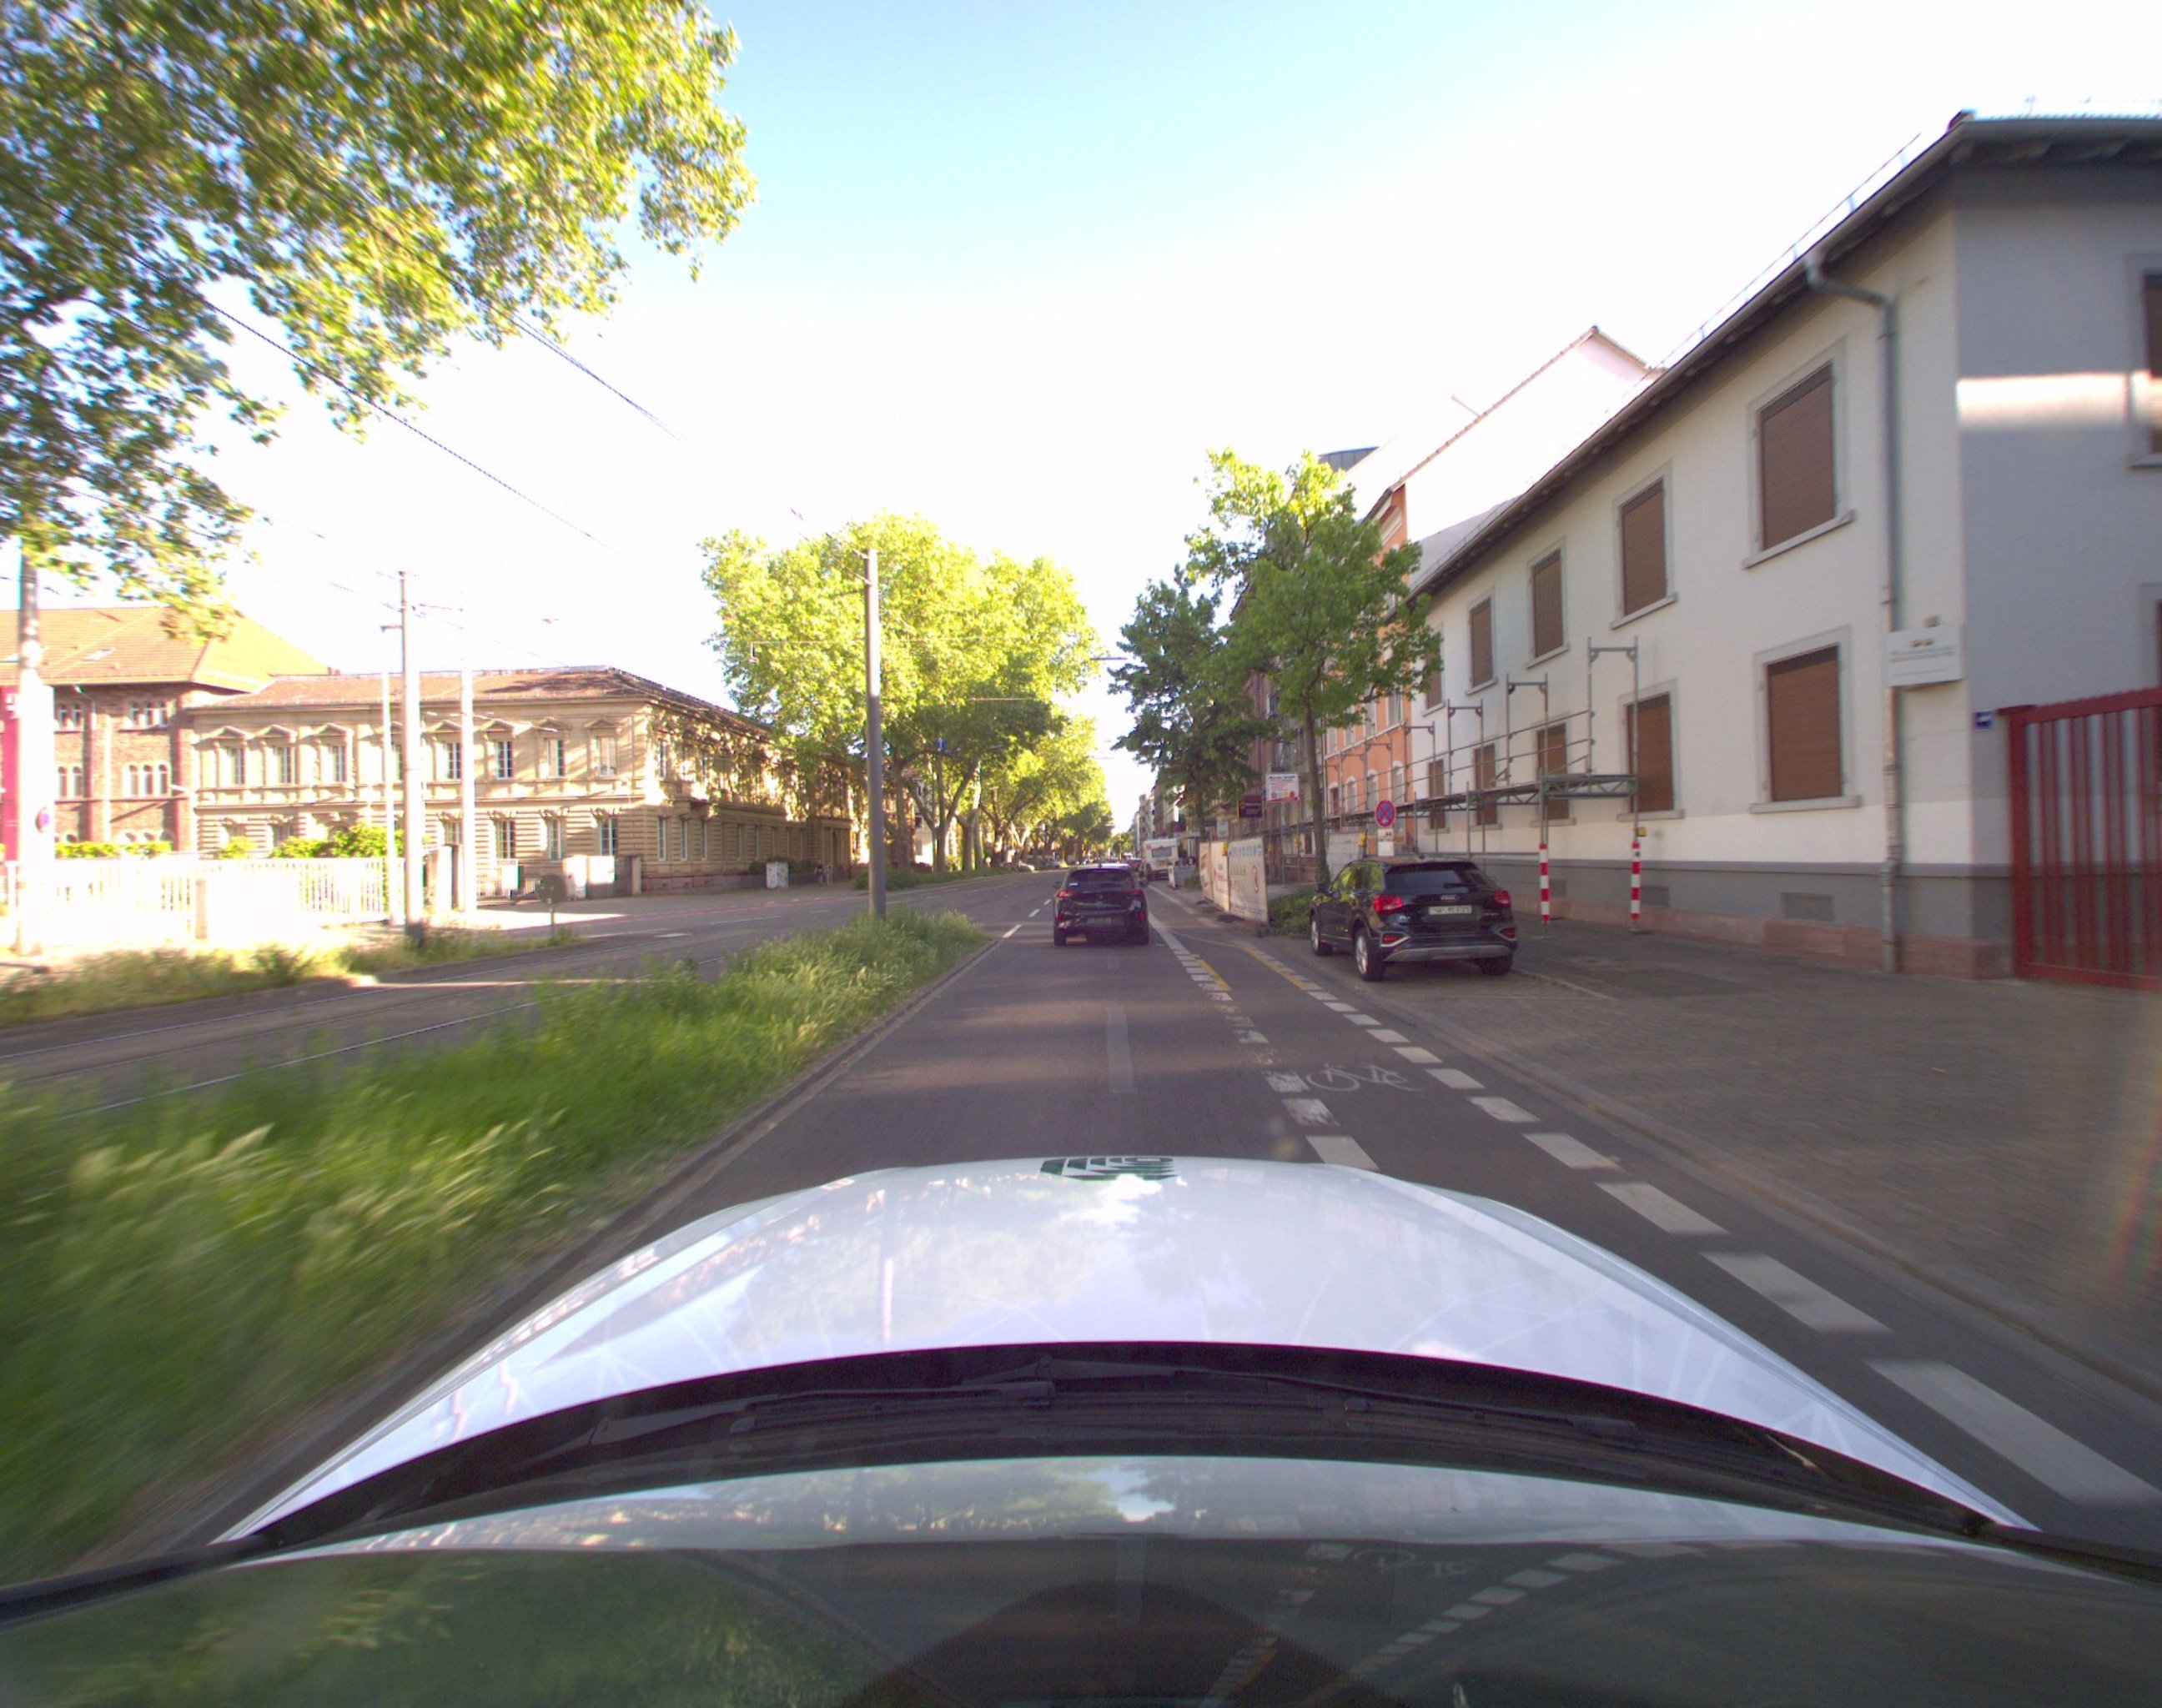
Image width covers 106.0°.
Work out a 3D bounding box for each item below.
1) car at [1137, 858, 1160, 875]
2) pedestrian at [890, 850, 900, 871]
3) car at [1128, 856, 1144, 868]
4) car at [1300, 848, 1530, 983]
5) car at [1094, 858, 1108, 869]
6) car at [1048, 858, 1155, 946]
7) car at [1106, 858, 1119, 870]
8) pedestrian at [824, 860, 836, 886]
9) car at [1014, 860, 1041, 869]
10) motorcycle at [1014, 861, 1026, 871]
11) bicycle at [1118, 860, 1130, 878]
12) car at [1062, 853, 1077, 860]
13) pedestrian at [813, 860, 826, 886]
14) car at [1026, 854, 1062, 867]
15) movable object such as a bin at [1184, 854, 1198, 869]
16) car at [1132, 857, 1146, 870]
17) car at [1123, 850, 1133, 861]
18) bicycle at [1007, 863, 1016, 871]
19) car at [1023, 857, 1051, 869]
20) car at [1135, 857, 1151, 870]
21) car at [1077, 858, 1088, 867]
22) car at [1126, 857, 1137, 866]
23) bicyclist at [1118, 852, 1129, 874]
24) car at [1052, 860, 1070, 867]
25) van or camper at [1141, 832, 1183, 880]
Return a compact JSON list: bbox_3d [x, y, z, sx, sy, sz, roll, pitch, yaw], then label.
[{"bbox_3d":[5.934,1.087,72.063,1.803,1.435,4.667,-2,-1,2],"label":"car"},{"bbox_3d":[-16.111,0.559,70.429,0.718,1.849,0.836,-1,-1,-5],"label":"pedestrian"},{"bbox_3d":[7.697,1.133,114.588,1.875,1.586,3.931,-5,-1,-1],"label":"car"},{"bbox_3d":[4.388,0.708,11.428,1.755,1.483,4.114,-2,0,4],"label":"car"},{"bbox_3d":[2.704,1.271,108.969,1.802,1.338,3.936,-1,0,4],"label":"car"},{"bbox_3d":[0.415,0.827,15.606,1.787,1.441,3.533,-1,0,2],"label":"car"},{"bbox_3d":[4.656,1.425,120.808,1.802,1.742,3.936,-1,0,3],"label":"car"},{"bbox_3d":[-16.742,1.243,54.348,0.633,1.697,0.655,-1,-1,-5],"label":"pedestrian"},{"bbox_3d":[-8.190,1.600,125.056,3.904,1.442,1.750,0,-1,2],"label":"car"},{"bbox_3d":[-7.869,1.555,105.138,0.879,1.147,2.397,-1,0,10],"label":"motorcycle"},{"bbox_3d":[3.357,1.156,64.211,0.857,1.407,2.524,-1,0,1],"label":"bicycle"},{"bbox_3d":[-2.991,0.594,215.575,3.908,1.790,1.676,0,-1,-1],"label":"car"},{"bbox_3d":[-17.445,1.252,54.271,0.670,1.697,0.661,-1,-1,-5],"label":"pedestrian"},{"bbox_3d":[-7.039,1.238,154.123,6.602,2.409,2.459,0,-1,2],"label":"car"},{"bbox_3d":[11.256,0.742,83.038,1.288,1.520,1.287,-1,-1,2],"label":"movable object such as a bin"},{"bbox_3d":[7.337,1.144,103.581,1.627,1.546,3.579,-2,-1,3],"label":"car"},{"bbox_3d":[10.466,0.417,181.451,2.067,2.219,4.938,-5,-1,3],"label":"car"},{"bbox_3d":[-8.960,1.675,105.184,0.537,0.940,2.040,-1,0,10],"label":"bicycle"},{"bbox_3d":[-7.524,1.504,139.340,4.655,1.924,1.982,0,-1,3],"label":"car"},{"bbox_3d":[6.936,1.065,91.545,1.686,1.392,4.499,-2,-1,4],"label":"car"},{"bbox_3d":[0.264,1.556,157.873,1.859,1.629,4.562,-2,0,2],"label":"car"},{"bbox_3d":[8.852,1.301,143.857,1.696,1.456,3.703,-5,-1,5],"label":"car"},{"bbox_3d":[3.336,0.713,64.115,0.845,1.740,1.162,-1,-1,1],"label":"bicyclist"},{"bbox_3d":[-4.550,2.222,184.840,3.908,1.498,1.676,0,-1,-1],"label":"car"},{"bbox_3d":[5.741,0.157,58.624,2.467,2.972,7.891,-5,-1,4],"label":"van or camper"}]
